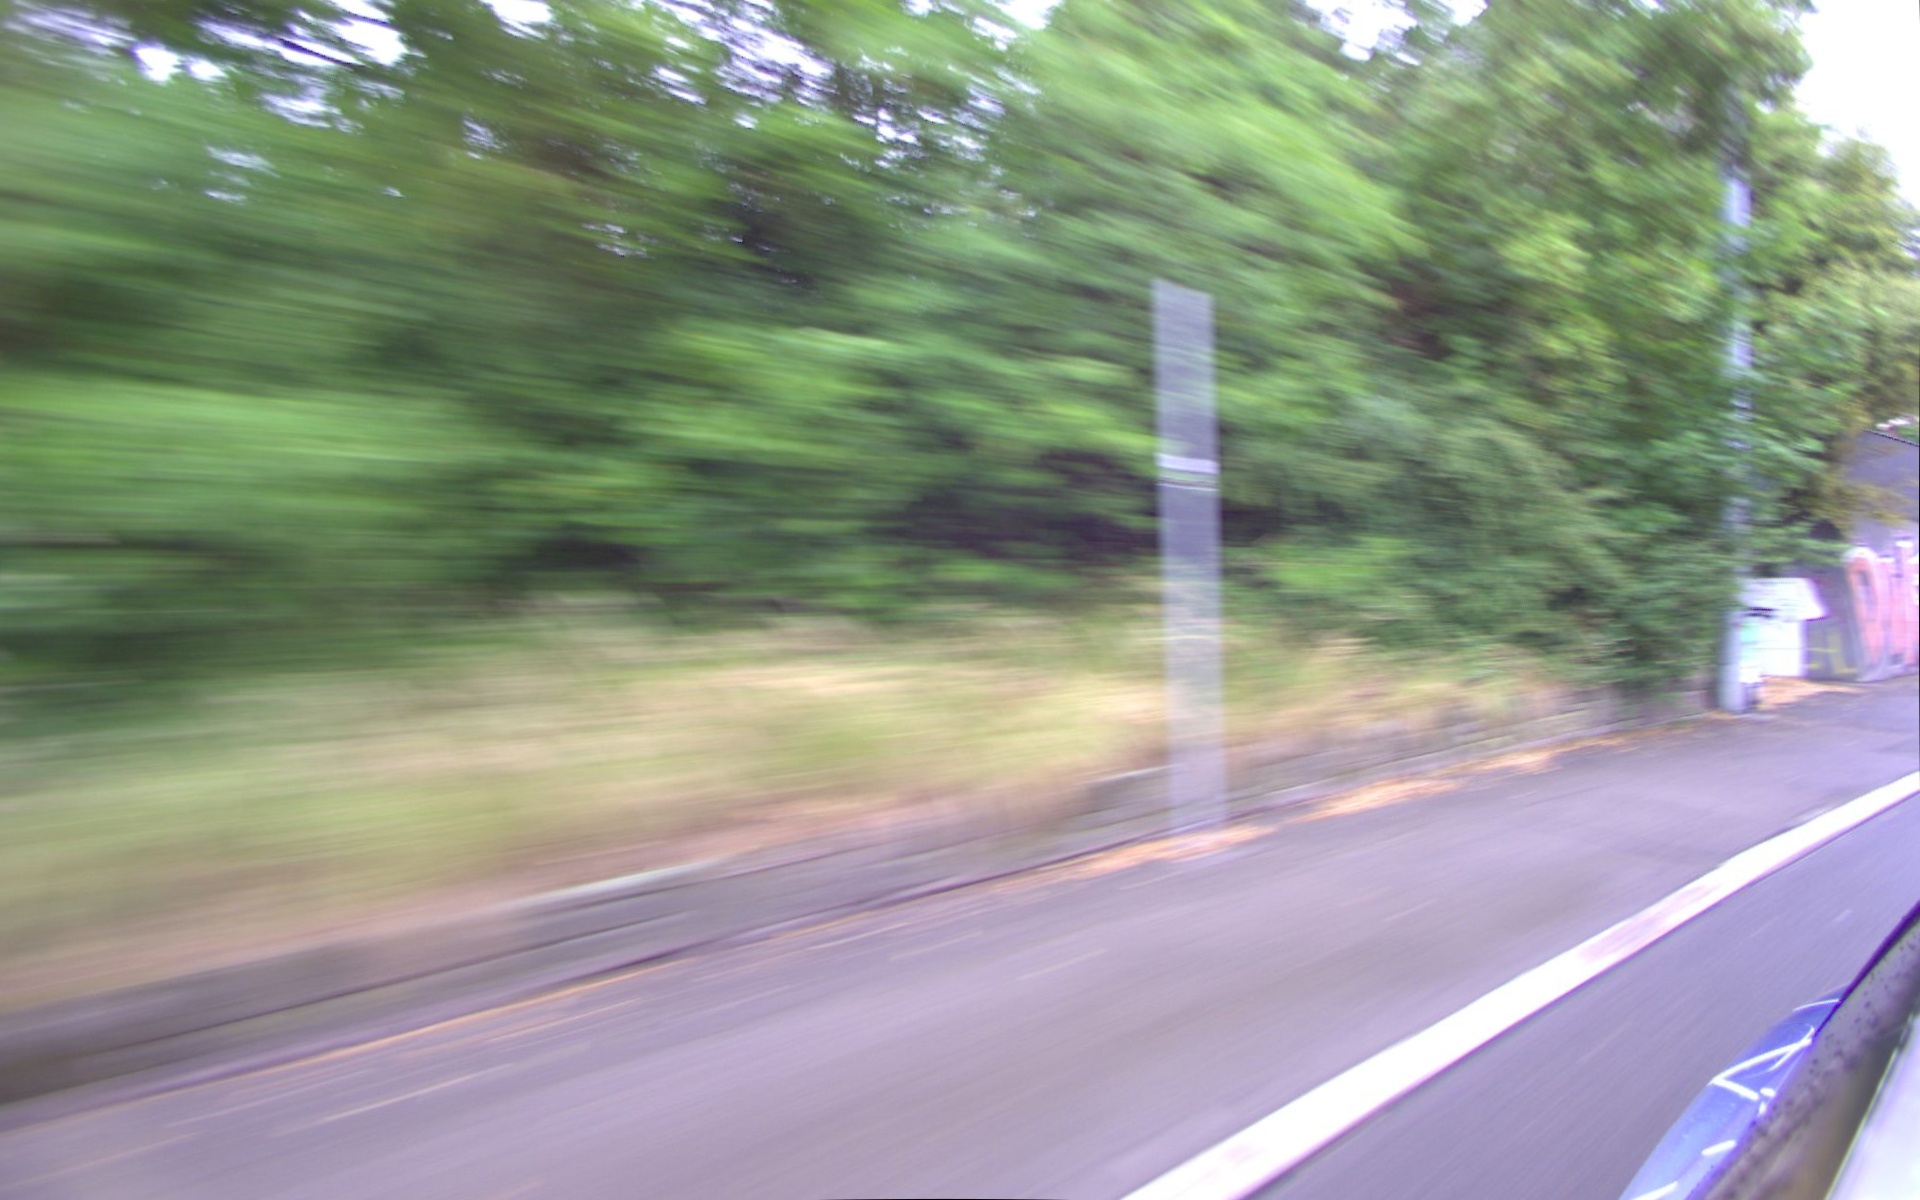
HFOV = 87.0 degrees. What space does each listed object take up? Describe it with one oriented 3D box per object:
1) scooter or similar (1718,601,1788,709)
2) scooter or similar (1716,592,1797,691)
[{"bbox_3d":[9.217,0.612,11.753,1.398,1.130,0.346,-2,5,-43],"label":"scooter or similar"},{"bbox_3d":[10.434,0.514,13.293,0.343,1.130,1.413,4,5,21],"label":"scooter or similar"}]
